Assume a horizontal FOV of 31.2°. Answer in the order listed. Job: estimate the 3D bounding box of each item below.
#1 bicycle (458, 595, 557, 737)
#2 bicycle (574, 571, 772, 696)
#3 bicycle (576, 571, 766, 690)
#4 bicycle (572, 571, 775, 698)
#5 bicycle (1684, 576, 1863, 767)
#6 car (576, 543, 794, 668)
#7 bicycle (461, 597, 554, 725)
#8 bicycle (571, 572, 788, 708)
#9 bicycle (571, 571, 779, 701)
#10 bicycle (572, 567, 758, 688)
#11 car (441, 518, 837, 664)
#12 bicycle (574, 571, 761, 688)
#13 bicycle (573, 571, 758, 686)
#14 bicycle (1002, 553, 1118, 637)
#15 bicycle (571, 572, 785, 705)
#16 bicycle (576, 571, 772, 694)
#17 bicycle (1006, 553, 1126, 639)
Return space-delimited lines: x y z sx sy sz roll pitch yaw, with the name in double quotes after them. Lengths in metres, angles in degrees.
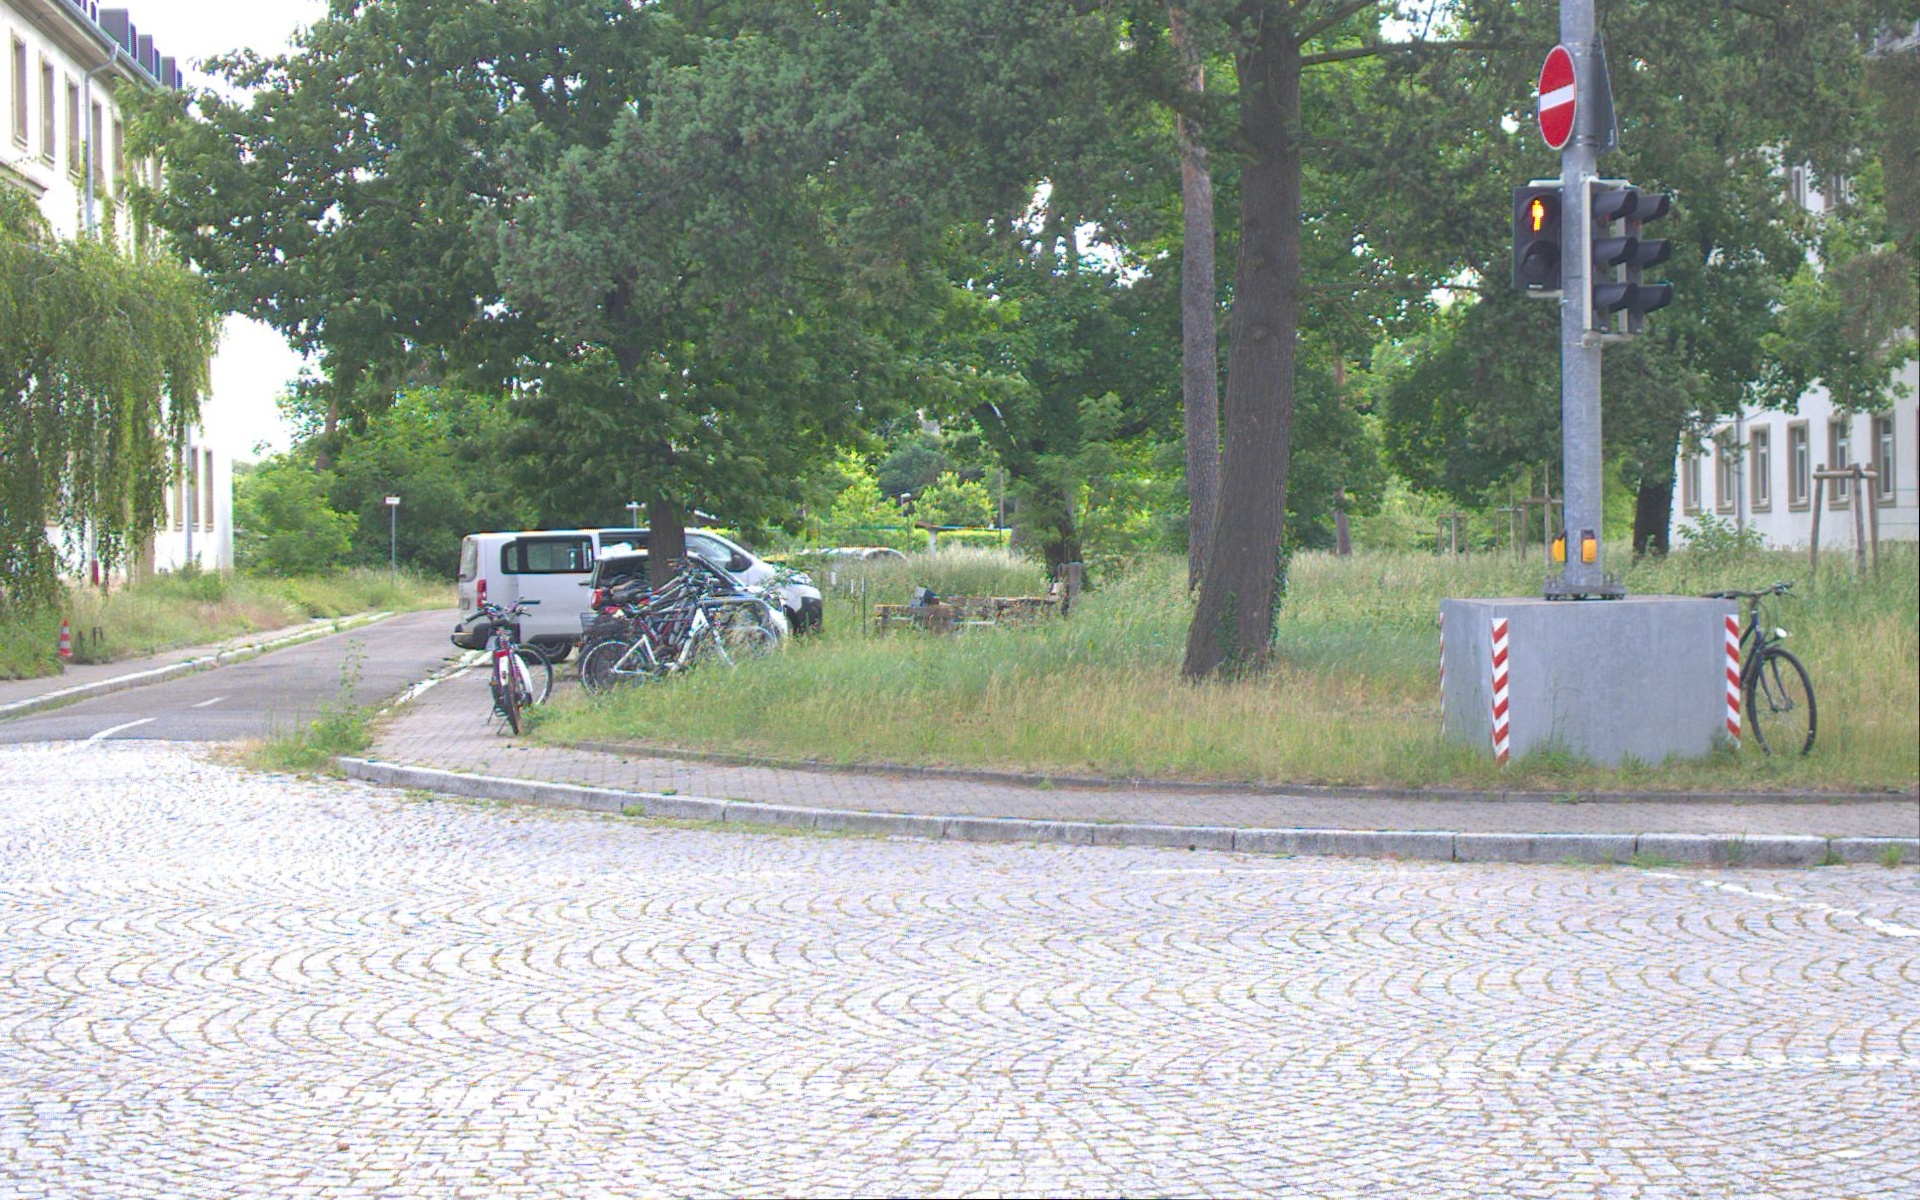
-3.710 0.523 28.299 0.622 1.110 1.989 0 1 -2 "bicycle"
-2.910 0.334 34.806 1.982 1.243 0.624 0 0 -6 "bicycle"
-3.069 0.318 36.402 1.982 1.243 0.624 0 0 -6 "bicycle"
-2.853 0.340 34.175 1.982 1.243 0.624 0 0 -6 "bicycle"
4.685 0.391 19.885 0.580 0.967 1.678 -3 3 -1 "bicycle"
-3.712 0.058 46.356 2.847 1.552 1.472 -2 2 -5 "car"
-3.969 0.519 30.240 0.622 1.079 1.678 0 0 -1 "bicycle"
-2.600 0.364 31.772 1.982 1.243 0.624 0 0 -6 "bicycle"
-2.768 0.348 33.320 1.982 1.243 0.624 0 0 -6 "bicycle"
-3.274 0.301 38.058 1.982 1.243 0.624 -2 1 -6 "bicycle"
-4.656 -0.156 49.766 5.303 1.909 2.150 -2 1 -19 "car"
-3.143 0.313 36.911 1.982 1.243 0.624 0 0 -6 "bicycle"
-3.208 0.308 37.401 1.982 1.243 0.624 0 0 -6 "bicycle"
1.361 -0.070 46.924 1.549 1.121 0.401 -1 1 -3 "bicycle"
-2.663 0.357 32.399 1.982 1.243 0.624 0 0 -6 "bicycle"
-2.946 0.328 35.330 1.982 1.243 0.624 0 0 -6 "bicycle"
1.405 -0.055 45.692 1.549 1.121 0.401 -1 1 -3 "bicycle"
